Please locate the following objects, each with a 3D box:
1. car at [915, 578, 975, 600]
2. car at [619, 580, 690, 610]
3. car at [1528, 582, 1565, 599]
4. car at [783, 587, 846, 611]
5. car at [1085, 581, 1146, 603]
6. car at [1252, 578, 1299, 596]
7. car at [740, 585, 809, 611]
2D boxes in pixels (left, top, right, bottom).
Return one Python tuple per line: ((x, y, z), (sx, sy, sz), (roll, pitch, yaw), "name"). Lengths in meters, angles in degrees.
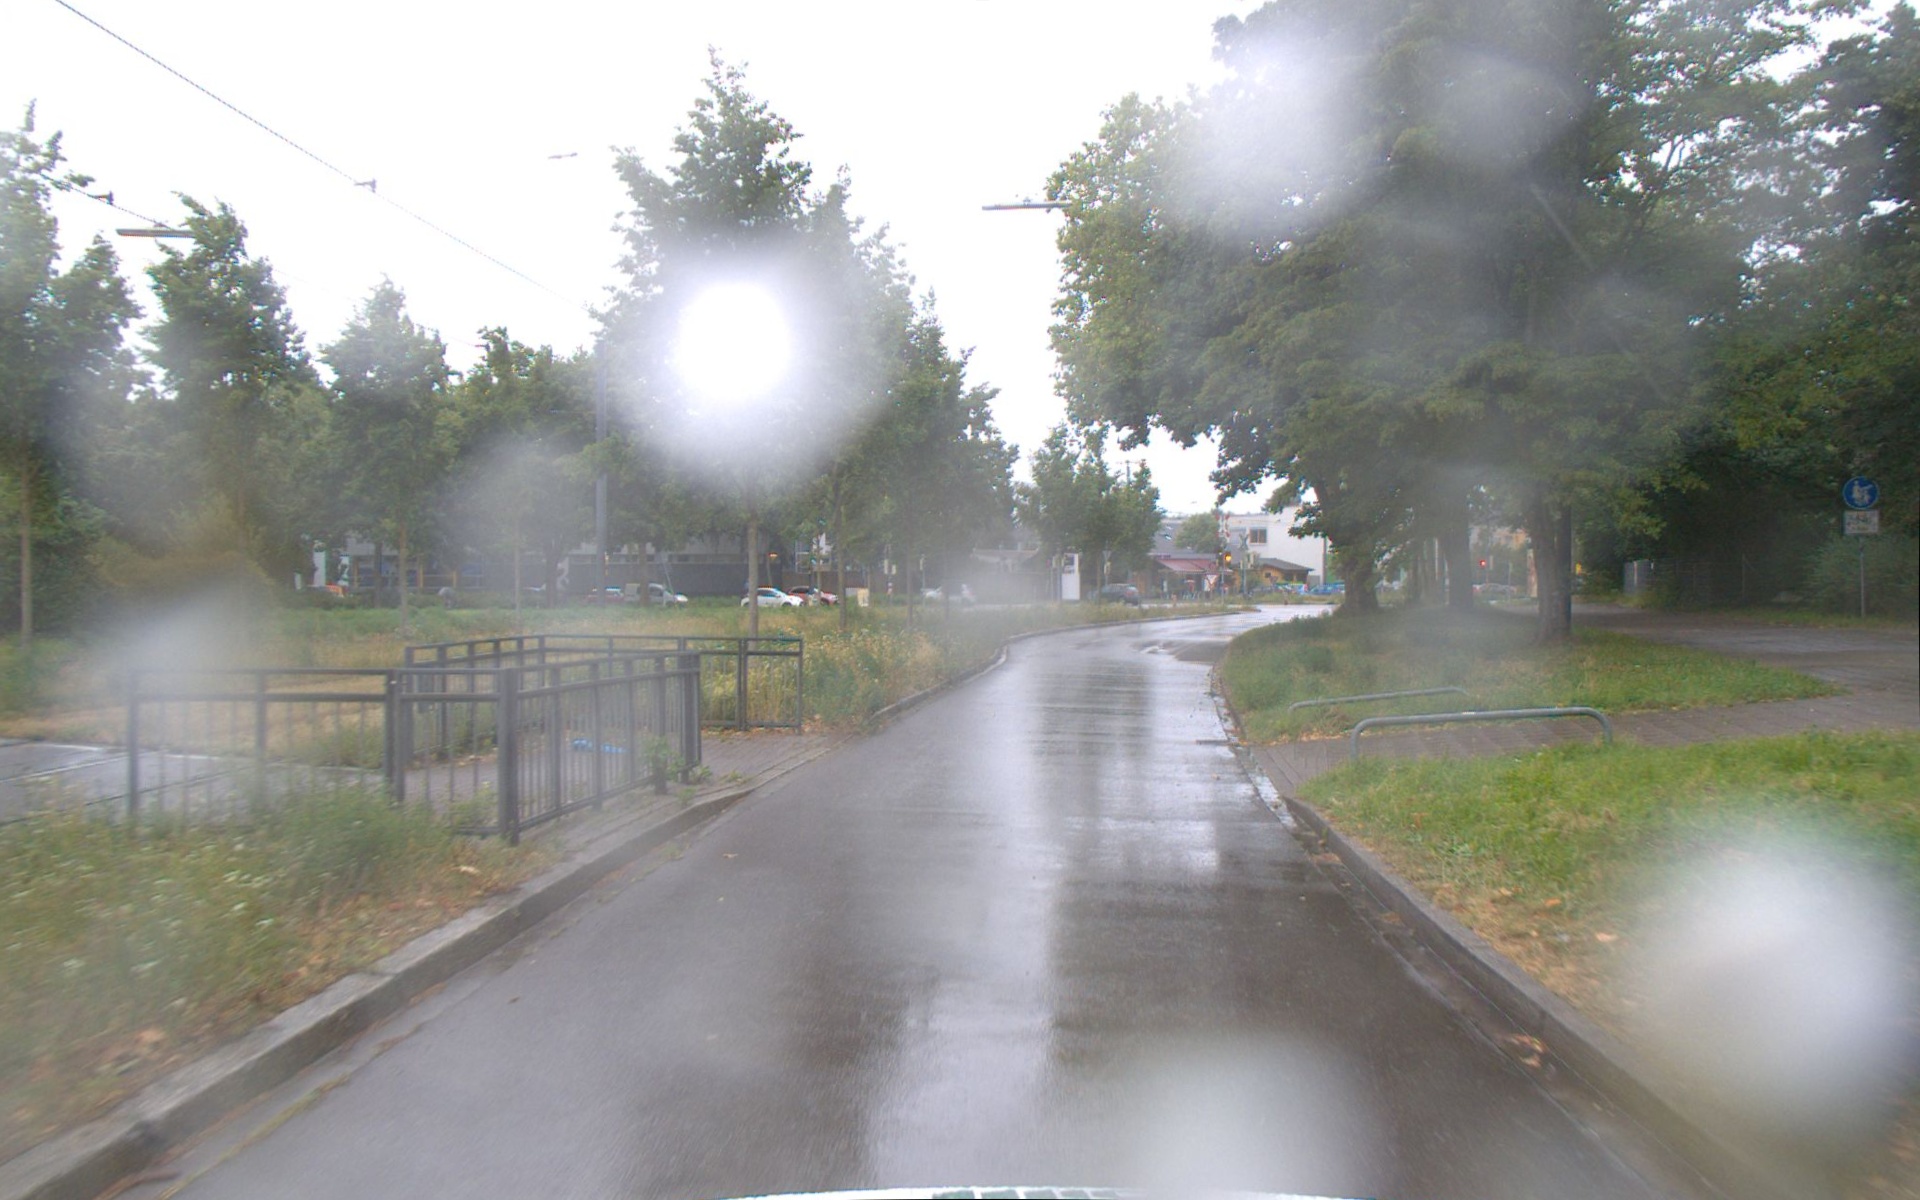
((-1.038, -0.763, 114.605), (3.902, 1.445, 1.539), (-1, 1, 15), "car")
((-19.545, -0.345, 105.777), (4.119, 1.827, 1.654), (0, 1, 8), "car")
((69.114, -1.140, 194.942), (4.047, 1.892, 1.674), (-1, 0, 17), "car")
((-9.471, -0.062, 107.705), (3.736, 1.525, 1.653), (-1, 0, 9), "car")
((10.391, -0.554, 110.330), (3.739, 1.445, 1.683), (0, 1, 36), "car")
((27.057, -1.144, 141.709), (3.675, 1.467, 1.762), (-1, 0, 24), "car")
((-11.693, -0.127, 104.186), (3.978, 1.525, 1.653), (-1, 0, 9), "car")
